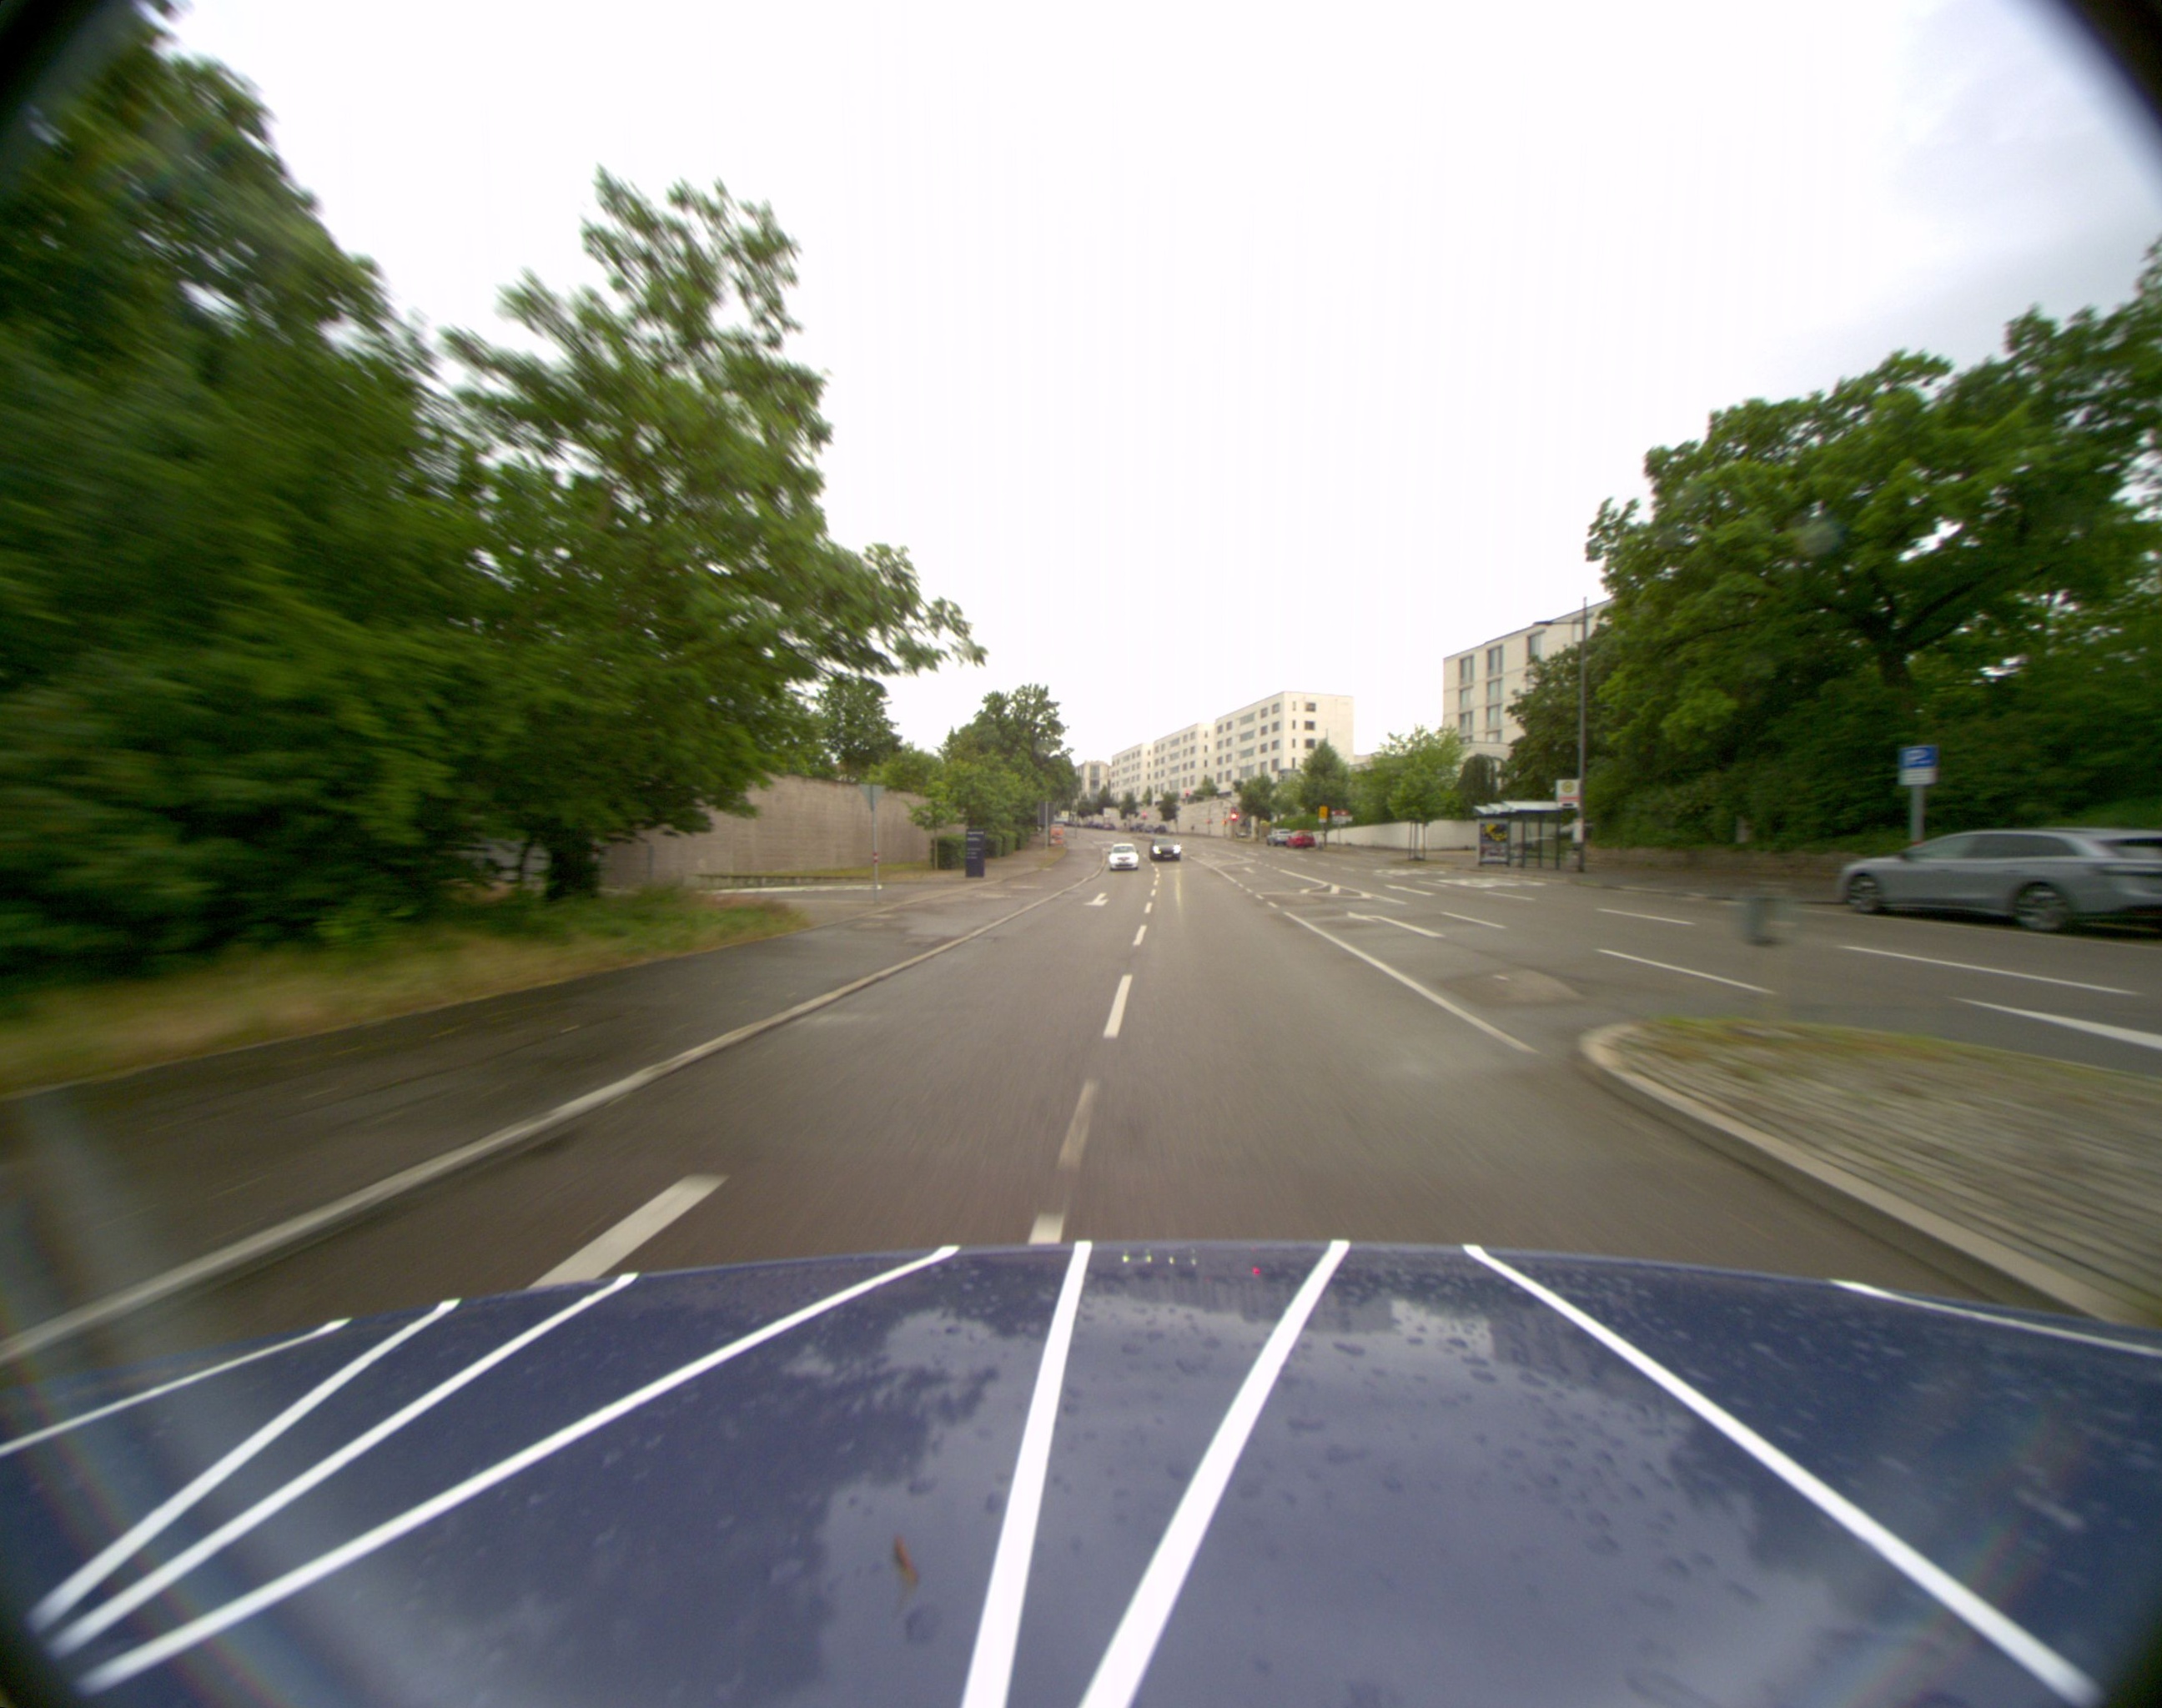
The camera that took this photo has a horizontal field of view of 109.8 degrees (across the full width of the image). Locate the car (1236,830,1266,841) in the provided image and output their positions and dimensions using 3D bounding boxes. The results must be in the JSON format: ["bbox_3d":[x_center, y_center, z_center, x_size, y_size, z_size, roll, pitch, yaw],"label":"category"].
[{"bbox_3d":[27.393,-3.050,122.601,4.349,1.643,1.996,0,3,-17],"label":"car"}]

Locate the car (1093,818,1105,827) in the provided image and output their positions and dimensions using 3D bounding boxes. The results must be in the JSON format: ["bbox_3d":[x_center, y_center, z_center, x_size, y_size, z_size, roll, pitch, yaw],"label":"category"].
[{"bbox_3d":[4.232,-7.464,179.016,1.926,2.002,4.380,-1,2,-13],"label":"car"}]

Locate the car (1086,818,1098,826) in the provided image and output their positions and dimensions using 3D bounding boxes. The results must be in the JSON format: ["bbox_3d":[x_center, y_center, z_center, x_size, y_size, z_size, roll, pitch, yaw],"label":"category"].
[{"bbox_3d":[2.666,-7.766,184.546,1.926,2.002,4.380,-1,2,-13],"label":"car"}]

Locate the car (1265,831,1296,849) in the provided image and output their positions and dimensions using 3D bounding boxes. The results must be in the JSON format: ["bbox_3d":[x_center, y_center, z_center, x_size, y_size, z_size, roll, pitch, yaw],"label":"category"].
[{"bbox_3d":[19.500,-1.397,74.416,1.768,1.644,4.881,-1,3,1],"label":"car"}]

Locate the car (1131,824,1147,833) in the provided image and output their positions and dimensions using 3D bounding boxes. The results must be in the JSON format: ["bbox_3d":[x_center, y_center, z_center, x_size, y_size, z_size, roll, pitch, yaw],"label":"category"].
[{"bbox_3d":[11.417,-4.973,148.999,1.791,1.623,3.992,0,3,-16],"label":"car"}]

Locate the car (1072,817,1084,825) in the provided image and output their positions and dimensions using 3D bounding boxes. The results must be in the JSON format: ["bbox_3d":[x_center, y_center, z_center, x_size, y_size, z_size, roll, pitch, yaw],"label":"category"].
[{"bbox_3d":[-0.783,-8.546,196.701,1.926,2.002,4.380,-1,2,-13],"label":"car"}]

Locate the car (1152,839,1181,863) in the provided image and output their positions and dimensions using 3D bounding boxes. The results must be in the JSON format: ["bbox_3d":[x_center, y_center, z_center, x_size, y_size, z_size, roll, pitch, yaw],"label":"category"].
[{"bbox_3d":[6.176,-0.250,55.208,1.829,1.584,4.000,-1,1,3],"label":"car"}]

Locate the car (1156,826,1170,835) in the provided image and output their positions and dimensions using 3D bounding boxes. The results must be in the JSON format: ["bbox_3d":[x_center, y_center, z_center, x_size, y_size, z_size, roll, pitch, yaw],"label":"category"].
[{"bbox_3d":[14.964,-4.315,138.953,1.682,1.451,2.691,0,3,-17],"label":"car"}]

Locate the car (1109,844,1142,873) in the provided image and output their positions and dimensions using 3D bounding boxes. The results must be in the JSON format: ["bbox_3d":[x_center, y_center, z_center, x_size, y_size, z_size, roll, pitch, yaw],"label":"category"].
[{"bbox_3d":[2.716,0.256,46.193,1.926,1.652,4.001,0,0,4],"label":"car"}]

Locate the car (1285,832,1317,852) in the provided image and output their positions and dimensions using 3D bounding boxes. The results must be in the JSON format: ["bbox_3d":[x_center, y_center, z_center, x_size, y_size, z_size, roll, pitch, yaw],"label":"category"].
[{"bbox_3d":[19.518,-1.108,67.432,1.669,1.578,4.215,0,3,1],"label":"car"}]

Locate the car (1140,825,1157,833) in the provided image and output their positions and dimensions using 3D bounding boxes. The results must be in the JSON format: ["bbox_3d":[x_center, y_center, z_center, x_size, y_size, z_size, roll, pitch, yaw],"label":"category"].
[{"bbox_3d":[12.736,-4.709,144.516,1.865,1.470,3.992,0,3,-16],"label":"car"}]

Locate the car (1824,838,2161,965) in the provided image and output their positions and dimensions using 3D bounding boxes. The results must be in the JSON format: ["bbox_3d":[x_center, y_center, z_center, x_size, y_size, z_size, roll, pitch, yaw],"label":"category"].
[{"bbox_3d":[14.901,0.568,12.113,1.844,1.580,4.931,-1,1,9],"label":"car"}]
